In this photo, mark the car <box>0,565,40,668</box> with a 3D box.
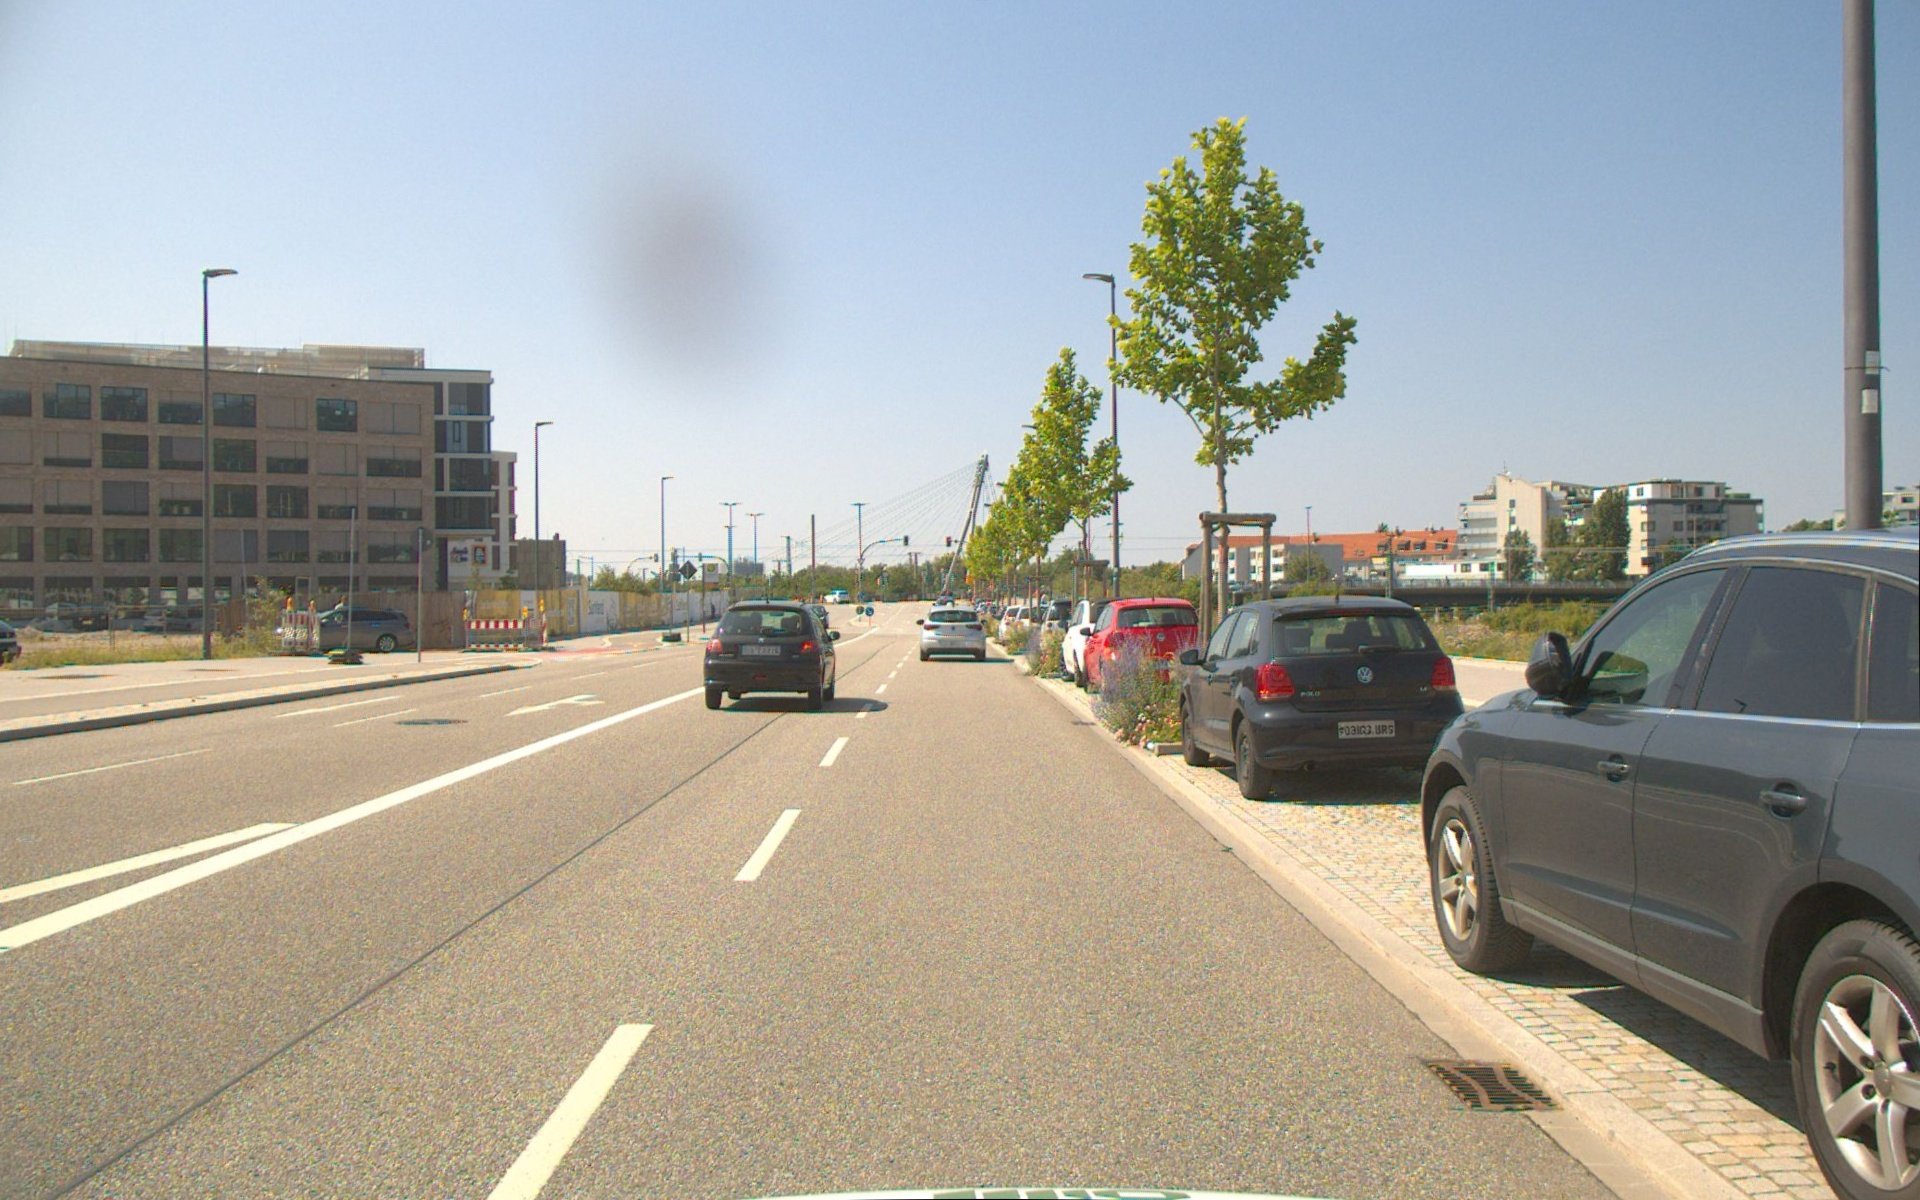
[{"bbox_3d":[-23.186,0.405,35.603,5.336,2.211,2.393,-1,0,-4],"label":"car"}]

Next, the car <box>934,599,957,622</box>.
[{"bbox_3d":[-1.130,0.792,127.933,1.742,1.596,4.000,-1,1,0],"label":"car"}]

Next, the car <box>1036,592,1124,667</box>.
[{"bbox_3d":[2.700,0.643,38.101,1.869,1.605,4.159,-1,0,2],"label":"car"}]

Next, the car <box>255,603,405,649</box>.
[{"bbox_3d":[-20.366,0.811,53.506,4.200,1.341,1.975,-1,0,-36],"label":"car"}]

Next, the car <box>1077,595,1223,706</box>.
[{"bbox_3d":[2.797,0.696,25.147,1.682,1.476,4.000,1,1,-1],"label":"car"}]

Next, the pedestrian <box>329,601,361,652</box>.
[{"bbox_3d":[-20.608,0.890,55.455,0.670,1.713,0.756,1,-1,9],"label":"pedestrian"}]

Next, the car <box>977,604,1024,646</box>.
[{"bbox_3d":[1.518,0.948,62.337,1.710,1.536,4.001,0,-1,1],"label":"car"}]

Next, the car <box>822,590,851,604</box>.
[{"bbox_3d":[-15.130,-0.325,202.124,1.837,1.678,3.956,1,0,-32],"label":"car"}]

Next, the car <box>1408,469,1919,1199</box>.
[{"bbox_3d":[2.879,0.498,5.063,1.699,1.636,4.239,-2,0,-2],"label":"car"}]

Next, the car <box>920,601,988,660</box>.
[{"bbox_3d":[-0.122,0.800,45.036,1.741,1.467,4.000,-1,0,1],"label":"car"}]

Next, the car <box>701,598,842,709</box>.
[{"bbox_3d":[-2.598,0.698,23.510,1.586,1.441,3.727,0,0,0],"label":"car"}]

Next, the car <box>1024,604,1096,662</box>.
[{"bbox_3d":[2.727,0.878,45.827,1.869,1.505,4.159,-1,0,2],"label":"car"}]

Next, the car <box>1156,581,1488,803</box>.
[{"bbox_3d":[2.738,0.619,13.472,1.600,1.454,4.239,-2,0,-2],"label":"car"}]

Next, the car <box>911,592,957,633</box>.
[{"bbox_3d":[-1.052,0.531,67.826,1.741,1.596,4.000,1,-1,1],"label":"car"}]

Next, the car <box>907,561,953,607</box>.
[{"bbox_3d":[-1.222,-0.652,69.379,1.756,1.780,4.000,2,-1,1],"label":"car"}]

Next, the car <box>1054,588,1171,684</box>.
[{"bbox_3d":[2.704,0.671,29.977,1.683,1.551,3.641,-3,-2,-1],"label":"car"}]

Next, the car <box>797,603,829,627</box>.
[{"bbox_3d":[-9.182,0.935,103.654,1.669,1.376,4.455,-1,0,-1],"label":"car"}]
